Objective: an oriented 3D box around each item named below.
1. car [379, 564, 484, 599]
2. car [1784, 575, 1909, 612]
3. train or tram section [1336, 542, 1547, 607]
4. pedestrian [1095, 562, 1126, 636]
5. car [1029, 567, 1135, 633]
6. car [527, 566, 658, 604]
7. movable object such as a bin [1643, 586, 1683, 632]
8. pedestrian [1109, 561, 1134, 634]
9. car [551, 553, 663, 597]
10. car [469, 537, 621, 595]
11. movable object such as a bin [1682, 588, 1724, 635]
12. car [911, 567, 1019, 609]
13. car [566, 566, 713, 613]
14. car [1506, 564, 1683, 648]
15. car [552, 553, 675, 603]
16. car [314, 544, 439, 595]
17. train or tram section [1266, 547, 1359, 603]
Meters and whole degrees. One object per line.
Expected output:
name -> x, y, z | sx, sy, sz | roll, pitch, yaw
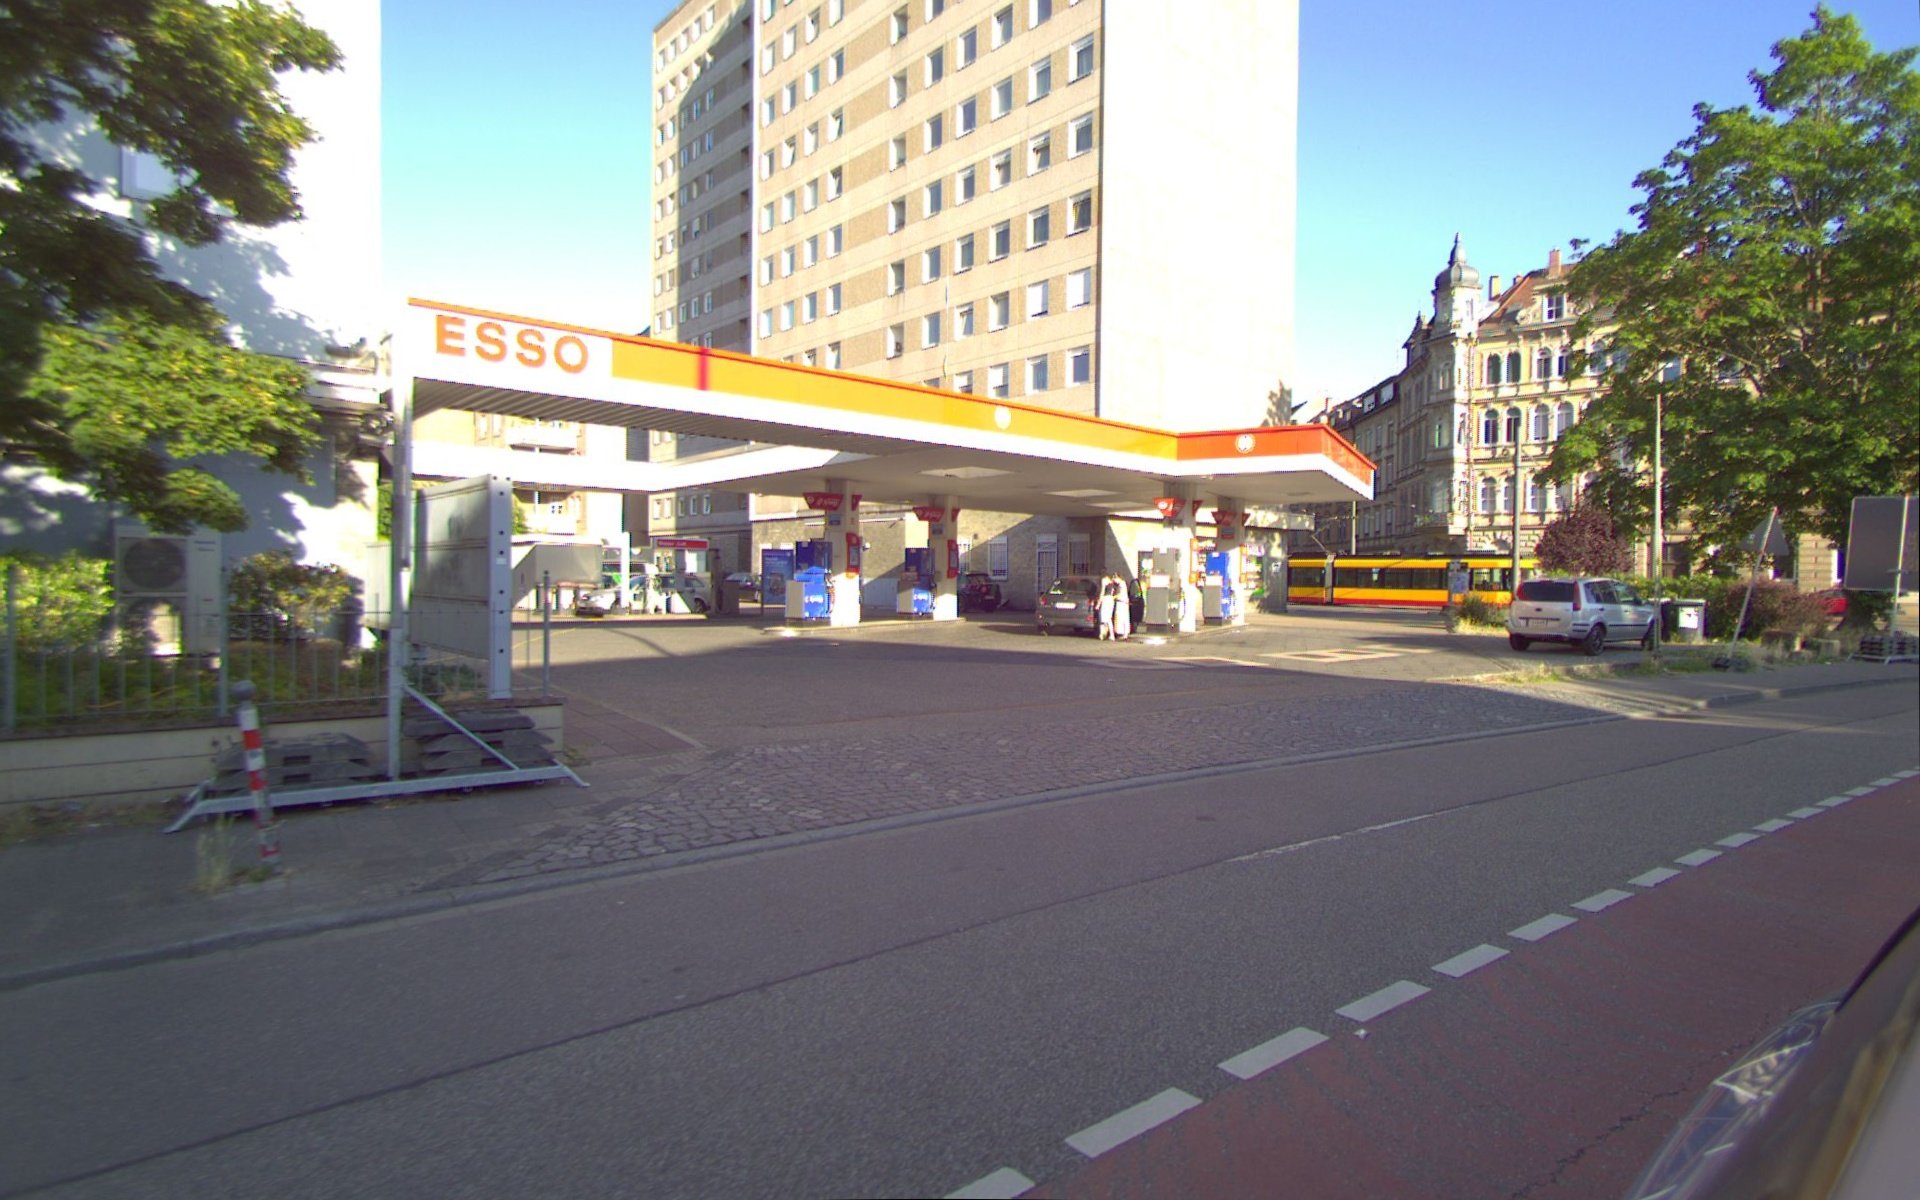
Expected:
car -> -23.824, -0.846, 45.674 | 3.931, 1.527, 1.693 | -1, 2, -41
car -> 42.690, -0.355, 48.800 | 1.792, 1.634, 4.453 | -1, 2, -45
train or tram section -> 28.313, -1.550, 60.319 | 2.817, 3.551, 11.291 | 0, 2, -38
pedestrian -> 3.383, -0.034, 22.715 | 0.529, 1.641, 0.563 | 1, 1, 27
car -> 3.026, -0.052, 24.542 | 1.574, 1.457, 3.274 | 1, 2, 26
car -> -13.417, -0.573, 37.050 | 4.181, 1.312, 1.749 | -1, 2, -40
movable object such as a bin -> 16.477, 0.199, 23.722 | 0.661, 1.042, 0.573 | 0, 1, -35
pedestrian -> 3.705, -0.065, 23.296 | 0.525, 1.641, 0.567 | 1, 1, 7
car -> -15.393, -1.088, 44.259 | 4.220, 1.867, 1.997 | -1, 2, -41
car -> -18.994, -1.532, 46.610 | 6.197, 2.532, 1.996 | -1, 2, -43
movable object such as a bin -> 16.939, 0.244, 23.070 | 0.661, 1.042, 0.573 | 0, 1, -35
car -> 0.151, -0.484, 38.210 | 1.965, 1.467, 3.995 | 0, 2, -41
car -> -10.269, -0.357, 32.580 | 4.181, 1.437, 1.749 | -1, 2, -40
car -> 13.221, 0.071, 21.036 | 3.818, 1.613, 1.626 | -1, 2, -33
car -> -13.804, -0.878, 40.417 | 4.220, 1.867, 1.997 | -1, 2, -41
car -> -30.265, -1.575, 52.606 | 5.390, 2.524, 1.693 | -1, 2, -41
train or tram section -> 23.357, -1.647, 67.262 | 2.811, 3.551, 5.312 | 0, 1, -28
